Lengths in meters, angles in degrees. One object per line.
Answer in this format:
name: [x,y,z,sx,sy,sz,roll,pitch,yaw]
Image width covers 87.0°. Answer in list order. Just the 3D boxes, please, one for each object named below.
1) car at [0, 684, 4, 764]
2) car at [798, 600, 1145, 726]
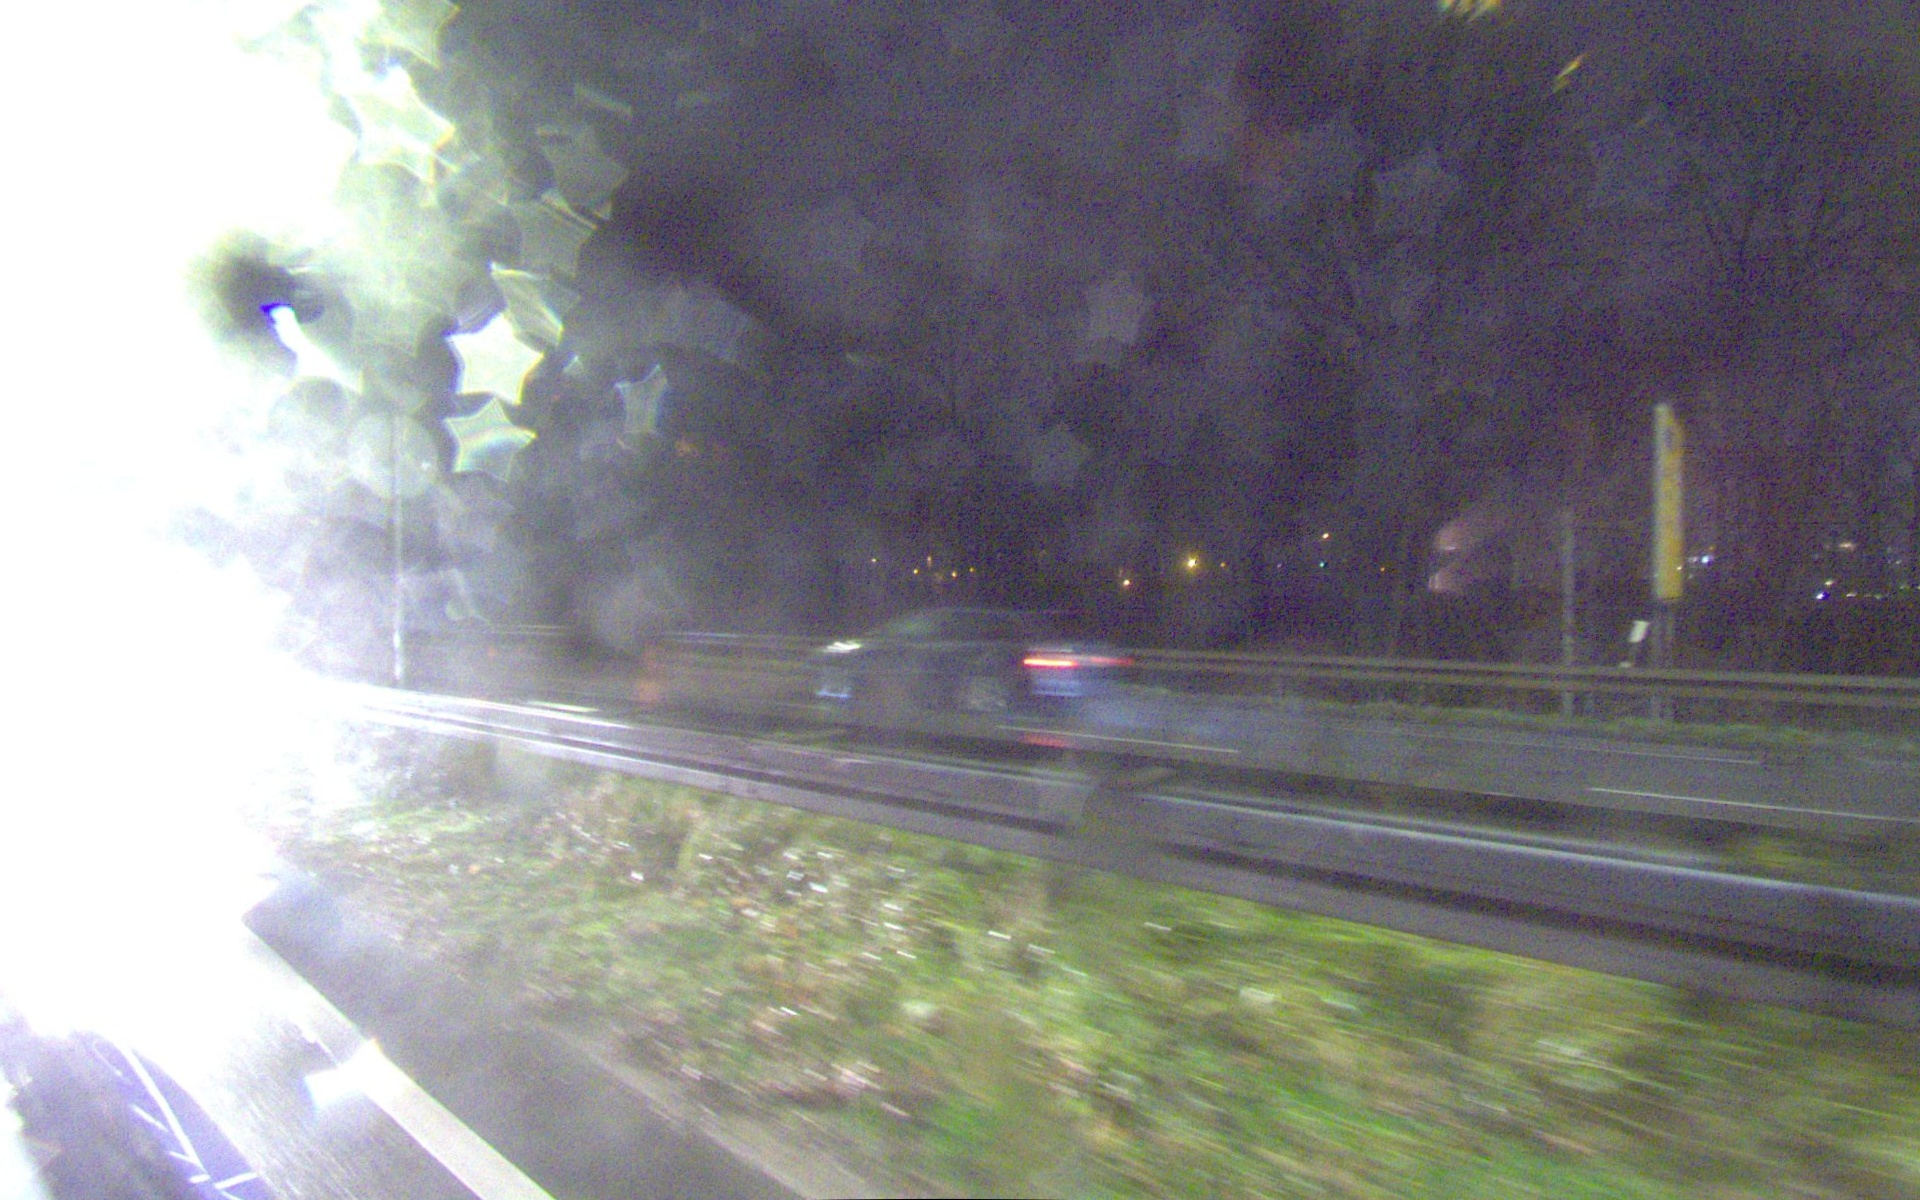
car: [-10.106,0.722,9.291,3.388,1.436,1.585,0,3,41]
car: [0.036,0.763,14.510,4.834,1.519,1.974,0,0,39]
